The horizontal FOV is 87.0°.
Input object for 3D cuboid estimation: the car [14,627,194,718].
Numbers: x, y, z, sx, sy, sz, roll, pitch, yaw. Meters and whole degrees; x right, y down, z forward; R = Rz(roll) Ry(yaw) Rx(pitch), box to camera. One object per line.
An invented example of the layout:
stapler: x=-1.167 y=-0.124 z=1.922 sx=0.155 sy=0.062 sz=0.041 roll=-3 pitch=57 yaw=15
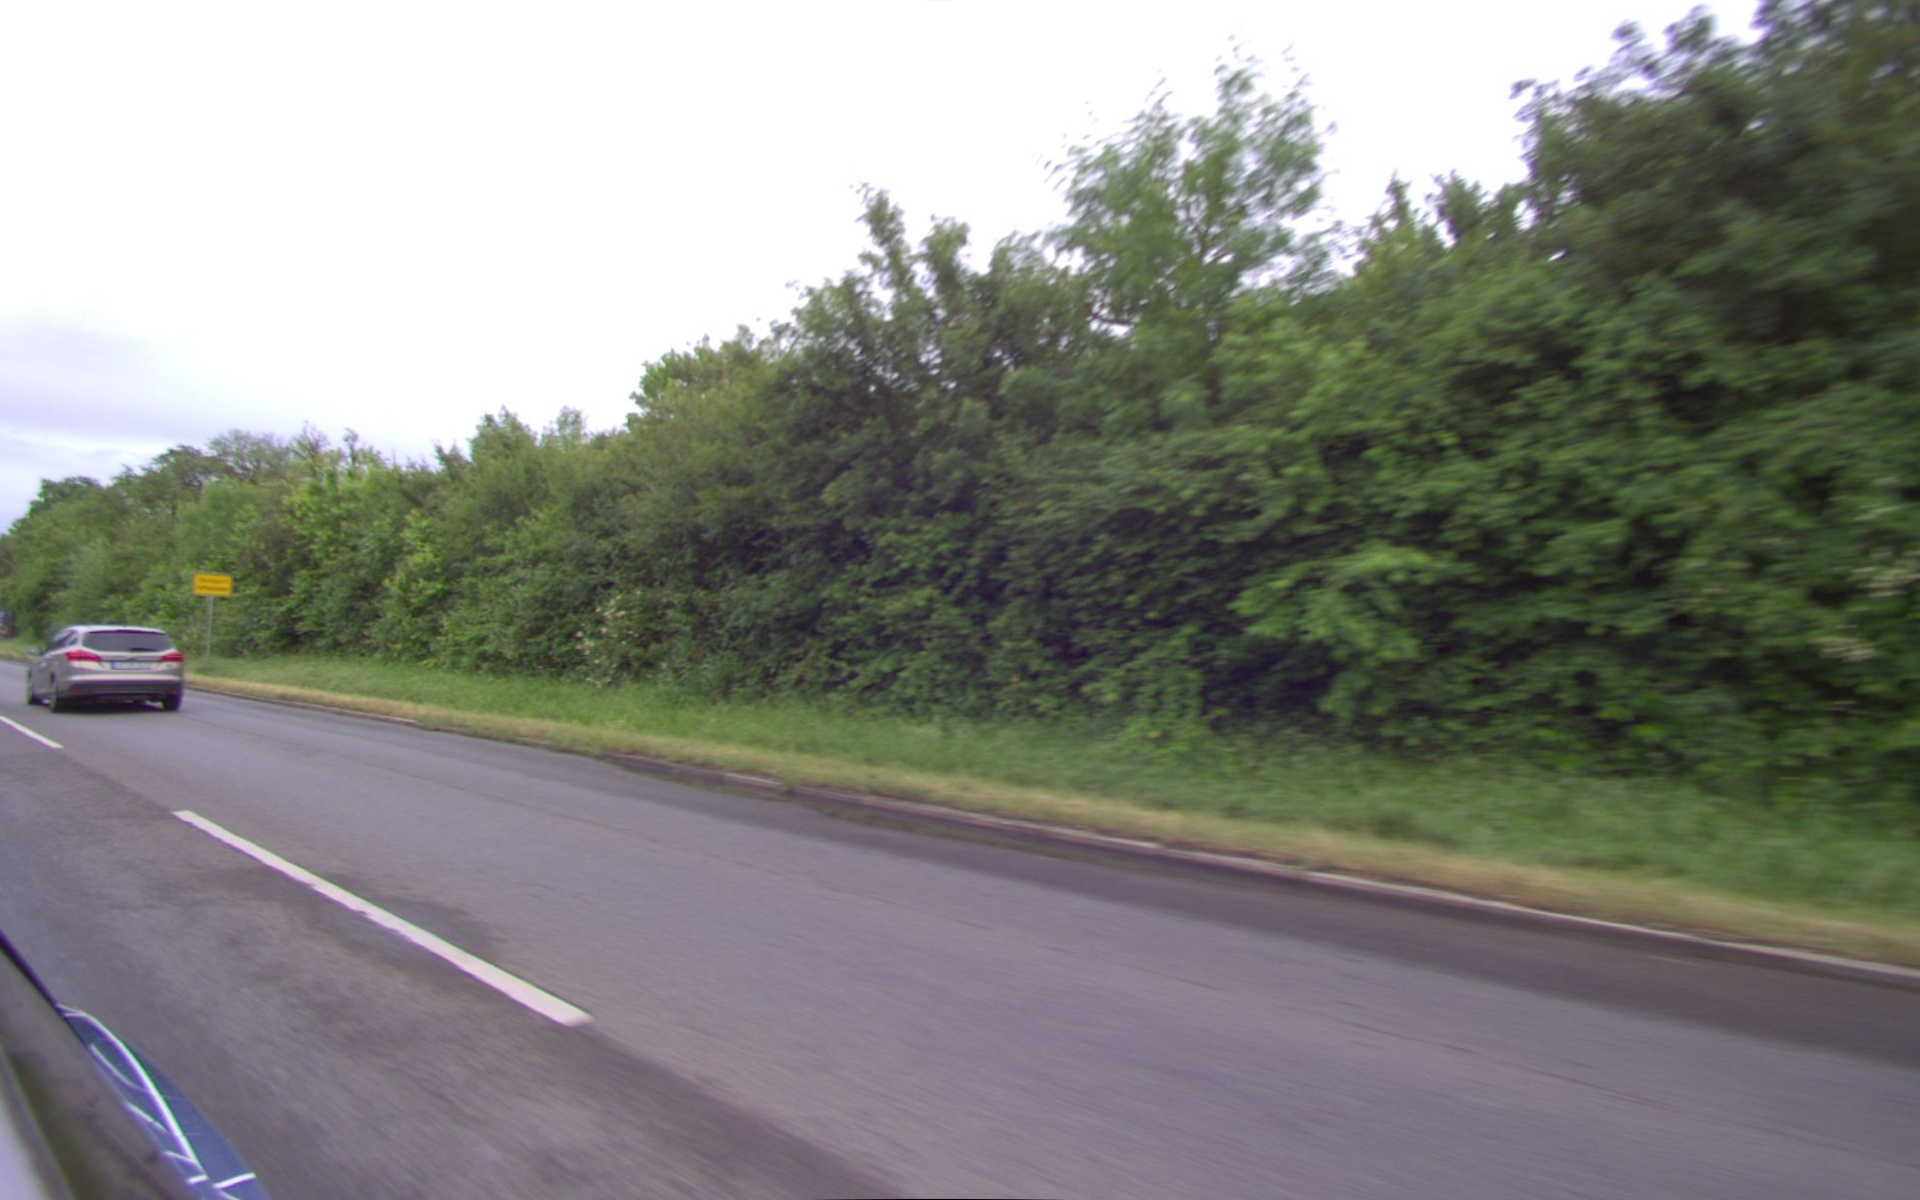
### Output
car: x=-15.273 y=1.220 z=17.982 sx=4.317 sy=1.431 sz=1.806 roll=-2 pitch=-3 yaw=41
